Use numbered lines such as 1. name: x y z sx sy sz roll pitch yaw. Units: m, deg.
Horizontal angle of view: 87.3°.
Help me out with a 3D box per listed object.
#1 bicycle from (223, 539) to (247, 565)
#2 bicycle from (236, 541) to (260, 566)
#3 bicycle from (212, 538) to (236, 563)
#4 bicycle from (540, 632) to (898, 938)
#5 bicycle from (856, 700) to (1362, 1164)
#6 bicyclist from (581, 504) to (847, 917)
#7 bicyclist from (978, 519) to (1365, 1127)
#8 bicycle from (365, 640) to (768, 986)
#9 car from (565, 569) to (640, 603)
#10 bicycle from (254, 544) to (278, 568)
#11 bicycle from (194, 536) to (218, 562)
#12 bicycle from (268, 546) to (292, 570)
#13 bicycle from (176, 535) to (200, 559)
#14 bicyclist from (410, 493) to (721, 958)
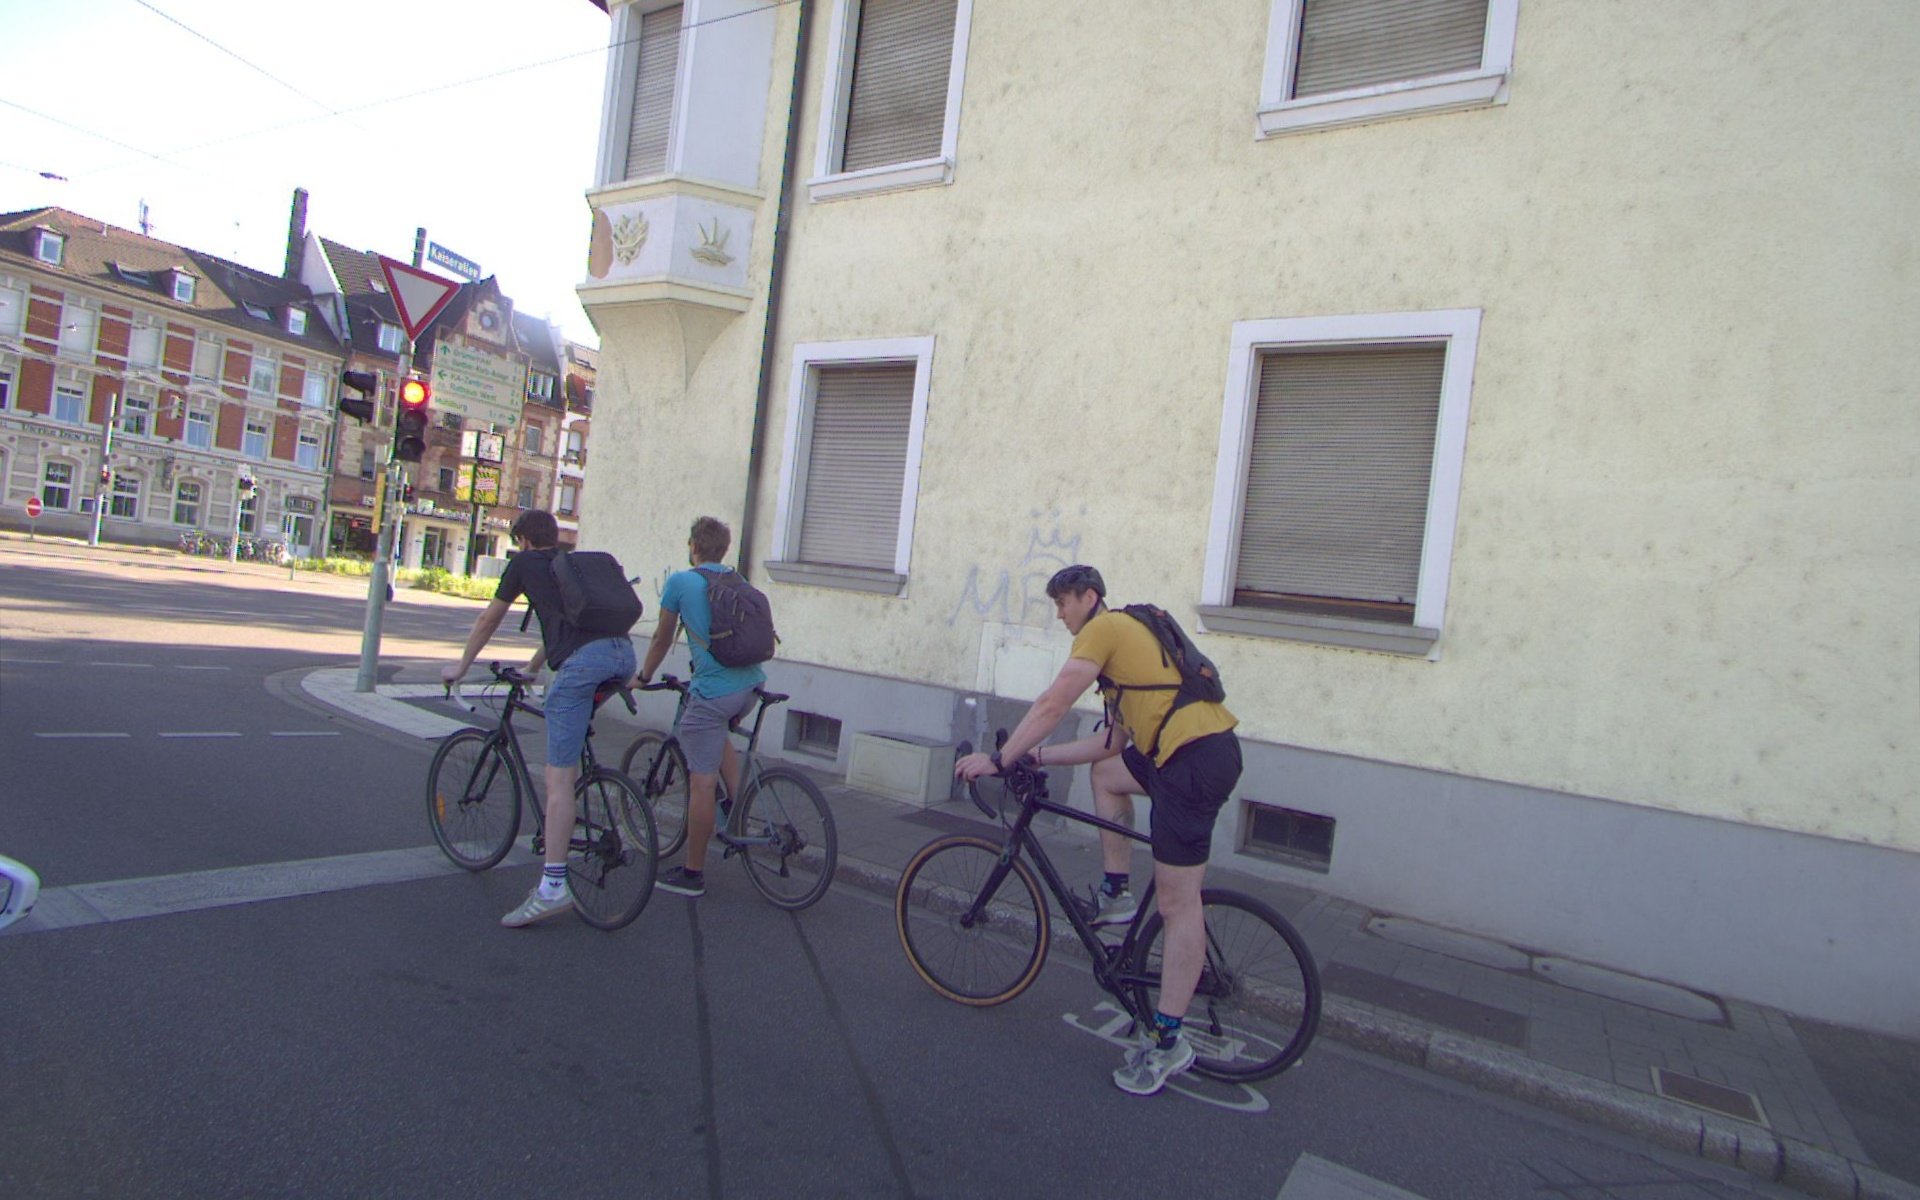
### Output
1. bicycle: -34.007 -2.254 47.173 1.759 1.033 0.485 7 0 42
2. bicycle: -33.679 -2.195 47.565 1.759 1.033 0.485 7 0 42
3. bicycle: -34.194 -2.295 46.749 1.759 1.033 0.485 7 0 42
4. bicycle: -1.311 0.877 5.285 1.858 1.180 0.571 7 0 32
5. bicycle: 0.511 1.090 3.778 1.670 1.180 0.571 7 0 32
6. bicyclist: -1.288 0.524 5.275 0.978 1.910 0.652 7 0 32
7. bicyclist: 0.770 0.696 3.661 1.019 1.839 0.652 7 0 32
8. bicycle: -1.801 0.835 4.473 1.858 1.071 0.571 7 0 32
9. car: -23.128 -0.884 65.204 1.966 1.641 4.261 7 -1 29
10. bicycle: -33.316 -2.118 48.293 1.759 1.033 0.485 7 0 42
11. bicycle: -34.645 -2.344 46.203 1.759 1.033 0.485 7 0 42
12. bicycle: -33.097 -2.061 48.980 1.759 1.033 0.485 7 0 42
13. bicycle: -35.070 -2.417 45.667 1.759 0.925 0.485 7 0 42
14. bicyclist: -1.752 0.492 4.475 0.978 1.788 0.652 7 0 32
